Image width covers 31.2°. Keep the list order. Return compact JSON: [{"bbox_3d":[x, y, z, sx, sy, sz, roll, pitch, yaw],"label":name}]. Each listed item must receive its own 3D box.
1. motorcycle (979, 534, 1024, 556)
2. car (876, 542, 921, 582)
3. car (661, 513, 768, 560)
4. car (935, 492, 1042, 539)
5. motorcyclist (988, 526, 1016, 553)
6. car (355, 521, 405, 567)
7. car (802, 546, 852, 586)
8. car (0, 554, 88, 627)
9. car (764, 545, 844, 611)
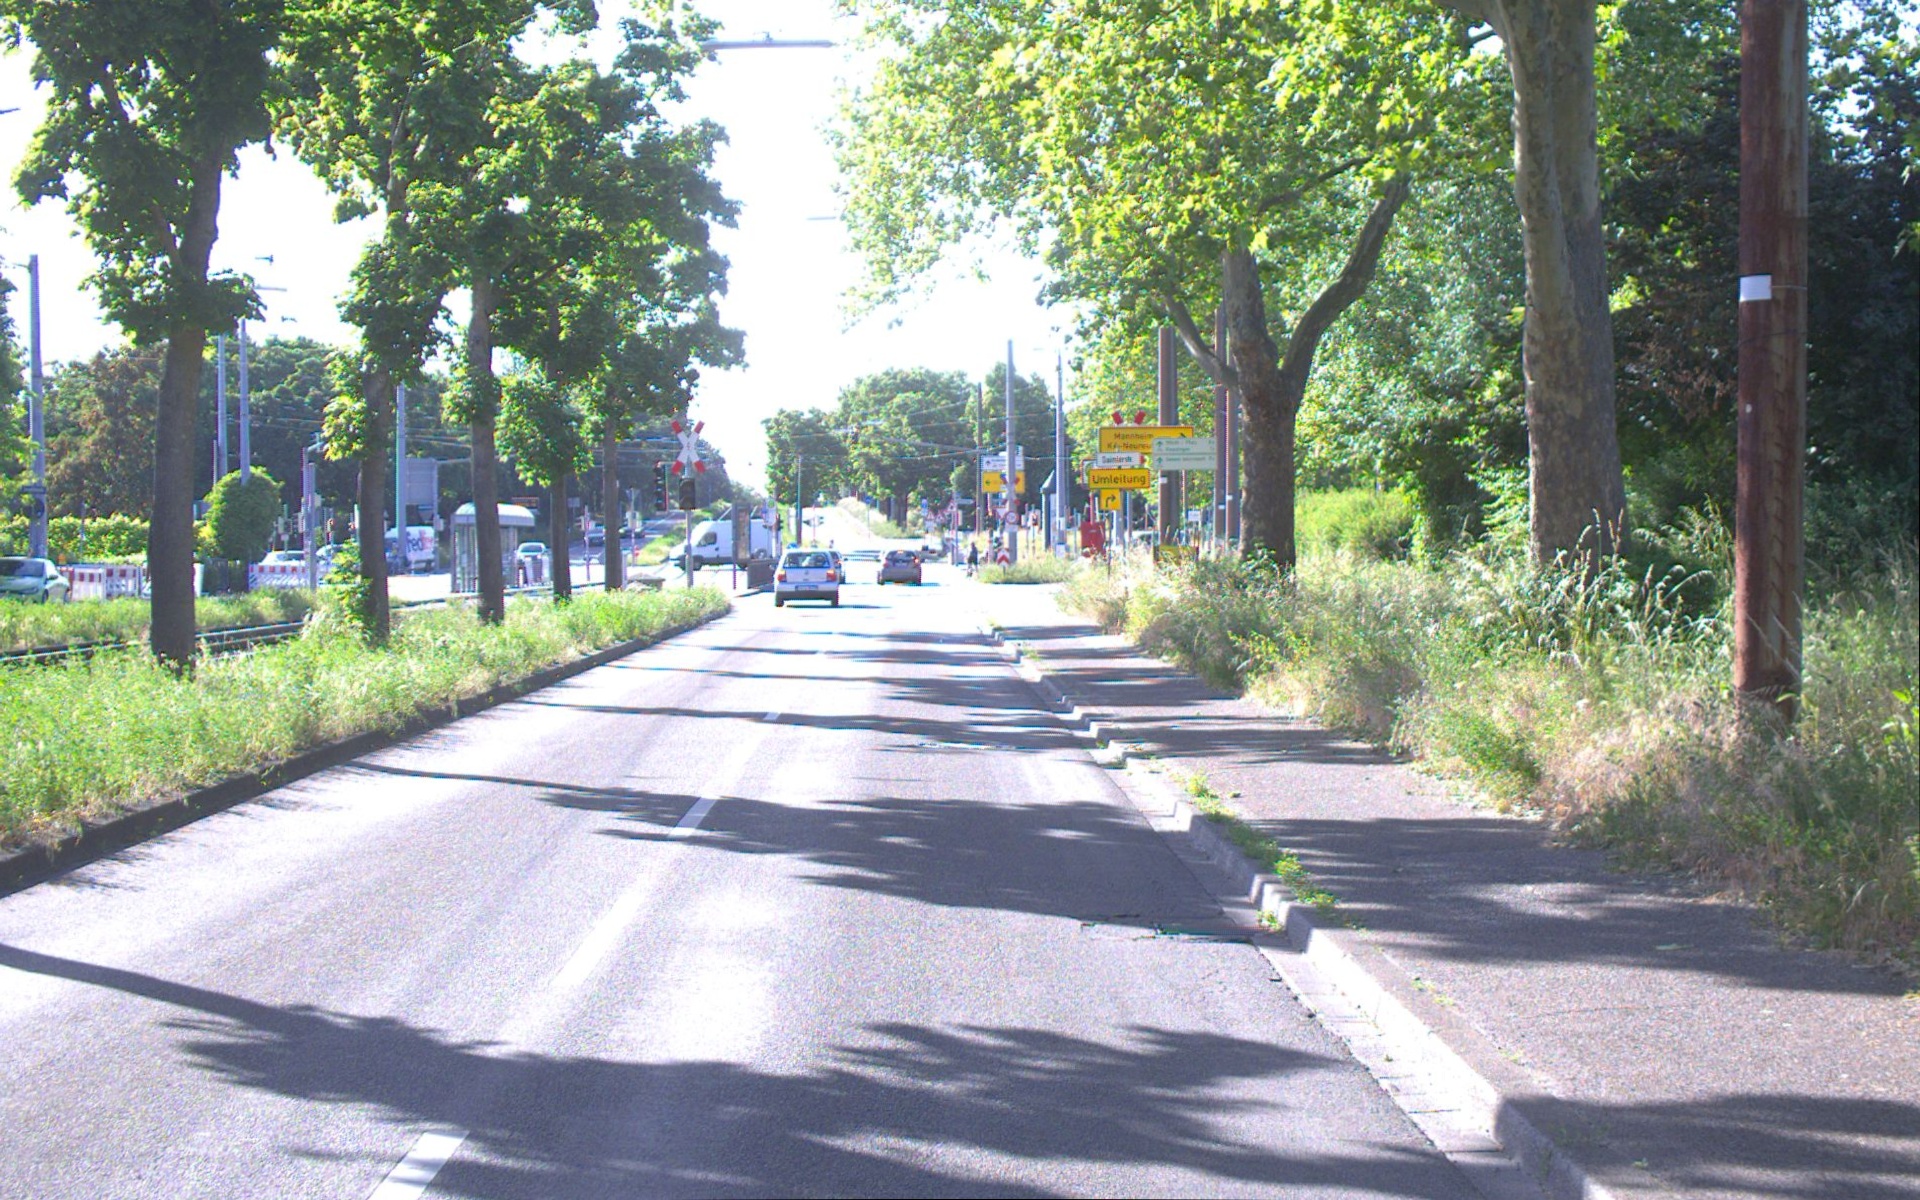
[{"bbox_3d":[2.293,-3.005,188.339,2.373,1.179,0.730,1,1,-26],"label":"motorcycle"},{"bbox_3d":[-2.502,-1.550,139.596,1.791,1.554,4.228,1,1,-1],"label":"car"},{"bbox_3d":[-12.932,-3.342,181.139,5.242,2.346,1.866,1,1,-25],"label":"car"},{"bbox_3d":[1.494,-4.361,178.050,5.146,2.267,2.001,1,1,-25],"label":"car"},{"bbox_3d":[2.317,-3.326,188.338,1.315,1.444,0.730,1,1,-26],"label":"motorcyclist"},{"bbox_3d":[-30.379,-2.937,180.152,2.088,2.346,5.262,1,1,-5],"label":"car"},{"bbox_3d":[-5.585,-1.442,144.788,1.993,1.598,4.474,1,1,-1],"label":"car"},{"bbox_3d":[-22.833,-0.247,84.475,1.778,1.701,4.228,1,1,-1],"label":"car"},{"bbox_3d":[-3.904,-0.565,86.597,1.860,1.595,4.228,1,1,-1],"label":"car"}]
